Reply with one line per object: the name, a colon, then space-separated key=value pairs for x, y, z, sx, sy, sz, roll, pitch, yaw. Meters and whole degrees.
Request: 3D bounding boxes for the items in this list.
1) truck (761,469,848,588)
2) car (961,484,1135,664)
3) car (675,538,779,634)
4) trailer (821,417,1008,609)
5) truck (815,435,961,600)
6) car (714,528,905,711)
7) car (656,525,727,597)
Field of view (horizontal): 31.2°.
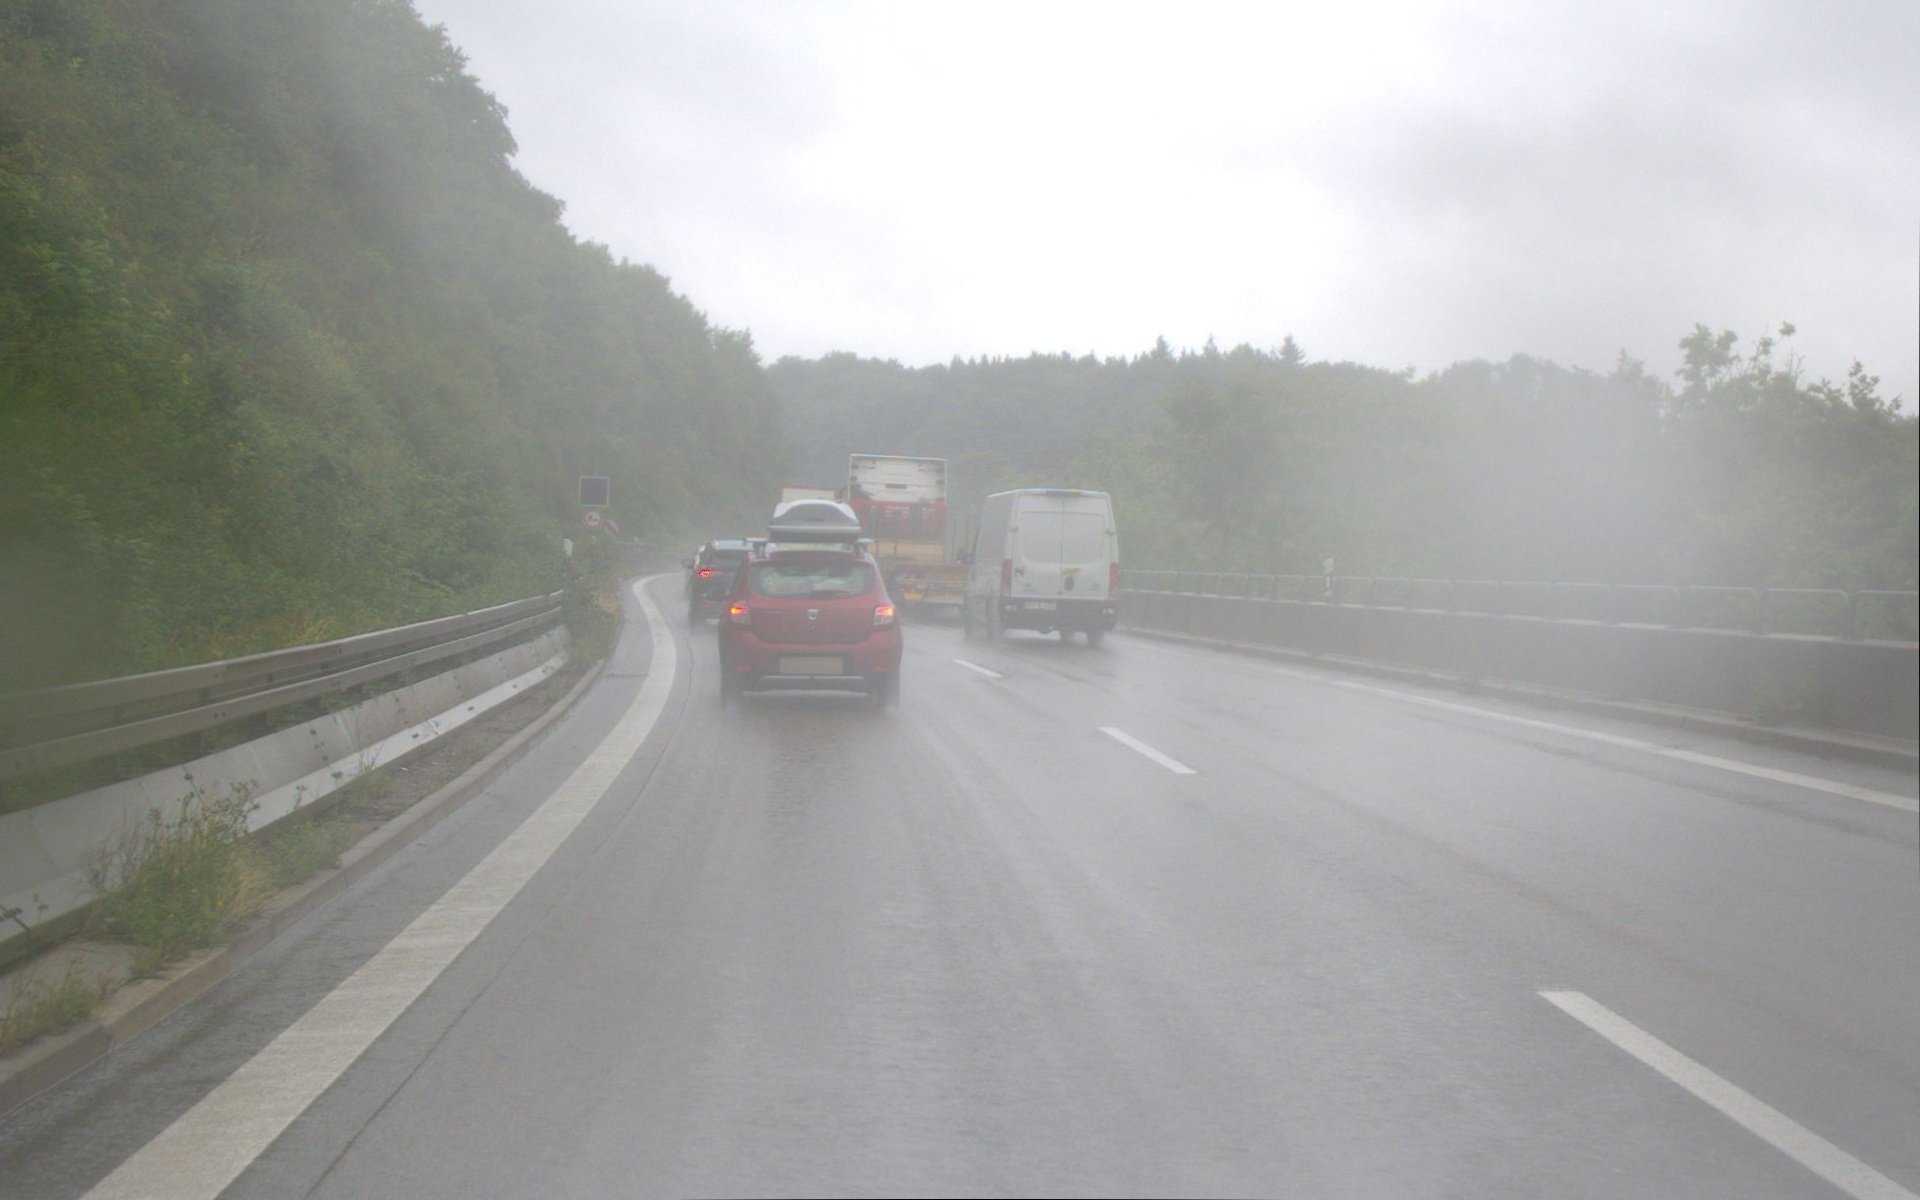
truck: x=-6.338 y=-2.837 z=138.944 sx=3.222 sy=4.666 sz=8.301 roll=0 pitch=0 yaw=-5
car: x=1.430 y=-0.469 z=59.581 sx=2.206 sy=2.784 sz=7.383 roll=4 pitch=1 yaw=-4
car: x=-4.238 y=-0.255 z=62.942 sx=1.823 sy=1.690 sz=4.000 roll=0 pitch=0 yaw=-3
trailer: x=-1.249 y=-1.965 z=80.656 sx=3.218 sy=3.985 sz=13.526 roll=3 pitch=1 yaw=-5
truck: x=-1.902 y=-2.080 z=88.075 sx=3.219 sy=3.964 sz=5.440 roll=3 pitch=0 yaw=-5
car: x=-1.534 y=0.168 z=33.828 sx=1.758 sy=1.679 sz=4.001 roll=0 pitch=0 yaw=-4
car: x=-7.010 y=-1.002 z=89.544 sx=1.715 sy=1.811 sz=3.893 roll=0 pitch=0 yaw=-6
